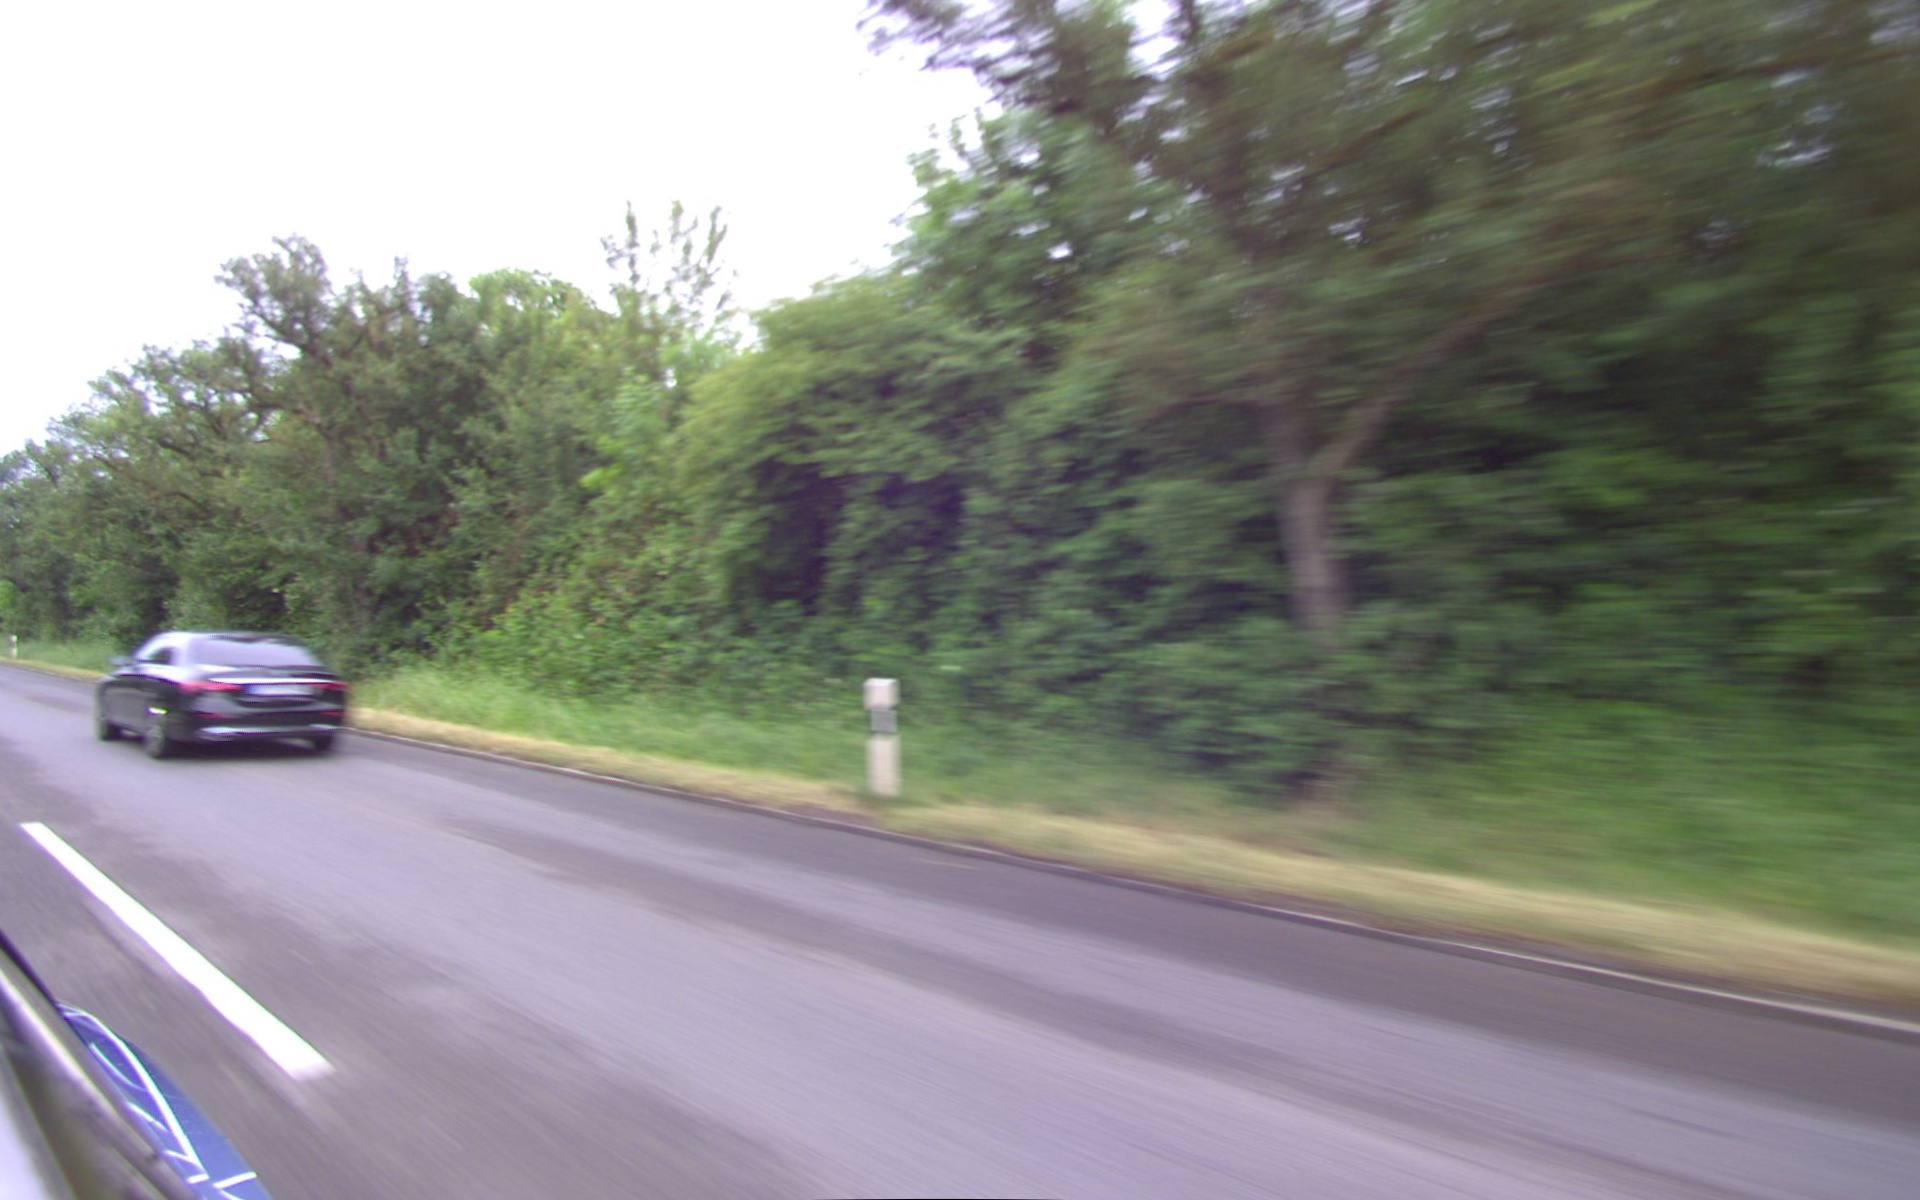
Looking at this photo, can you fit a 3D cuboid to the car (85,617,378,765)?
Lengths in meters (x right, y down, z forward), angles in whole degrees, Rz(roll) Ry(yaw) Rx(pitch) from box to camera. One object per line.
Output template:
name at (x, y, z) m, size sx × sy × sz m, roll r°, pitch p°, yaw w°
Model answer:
car at (-9.113, 1.010, 12.513) m, size 4.571 × 1.500 × 1.852 m, roll -1°, pitch -4°, yaw 41°
